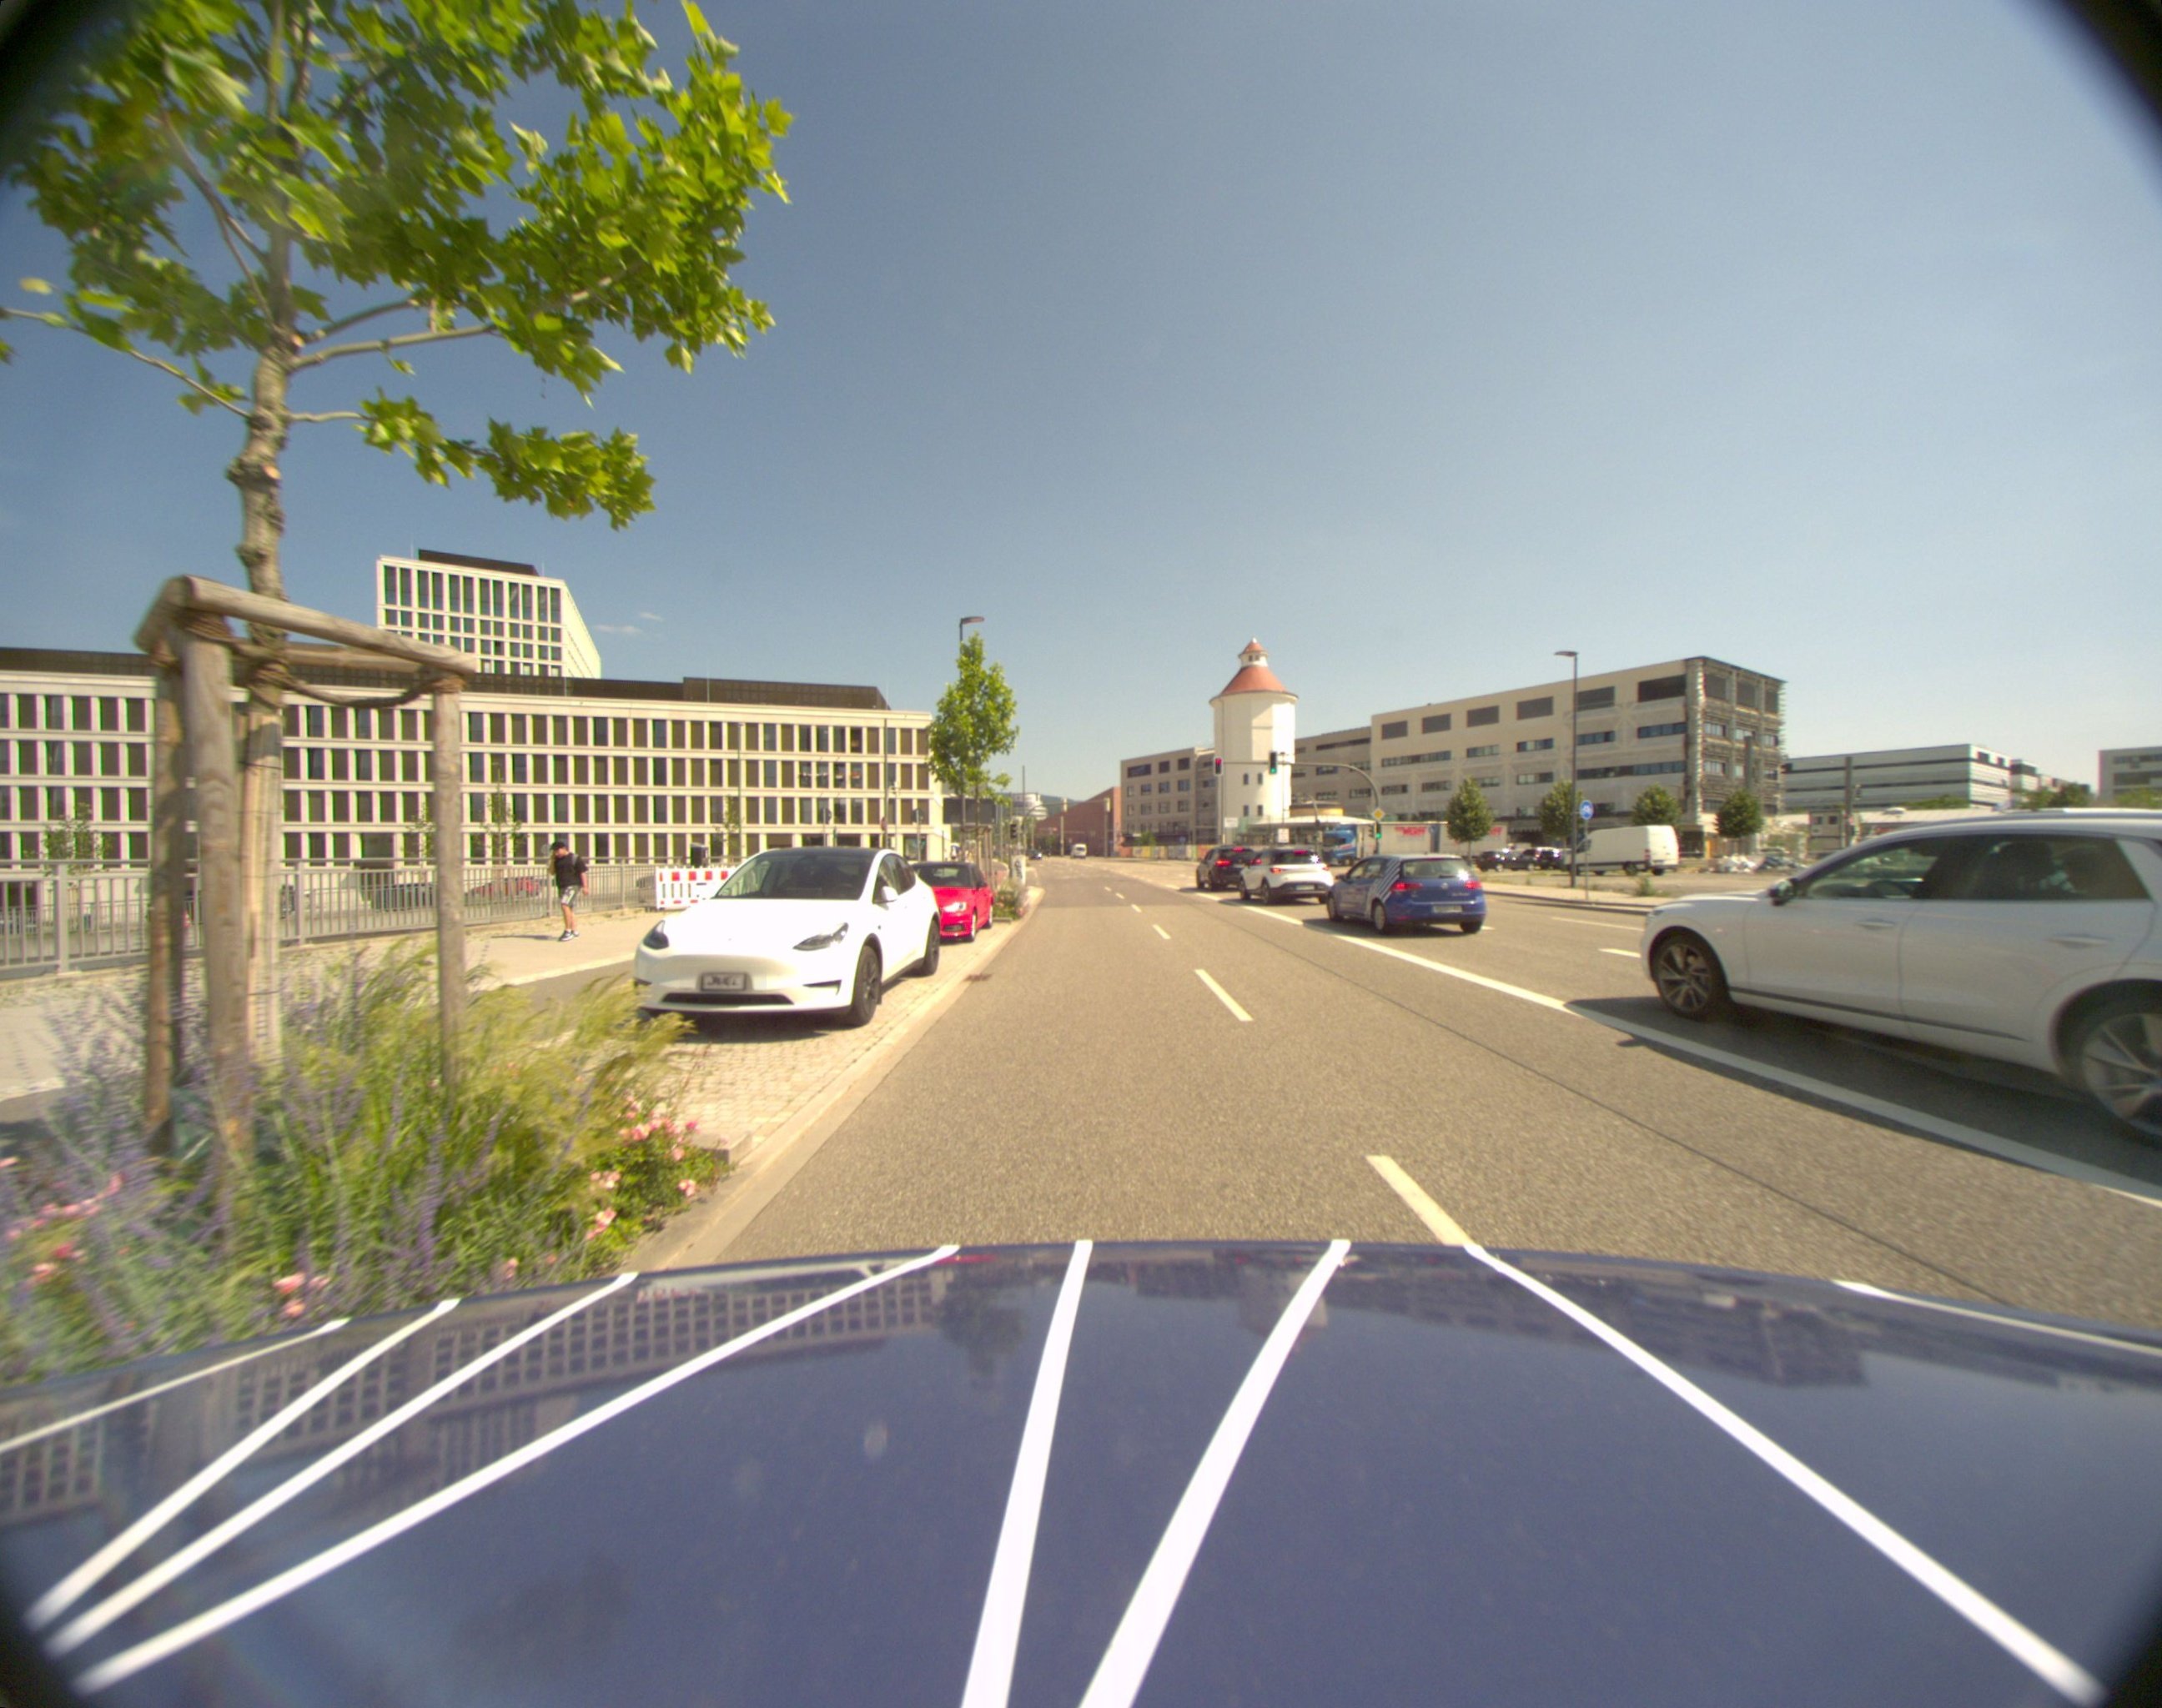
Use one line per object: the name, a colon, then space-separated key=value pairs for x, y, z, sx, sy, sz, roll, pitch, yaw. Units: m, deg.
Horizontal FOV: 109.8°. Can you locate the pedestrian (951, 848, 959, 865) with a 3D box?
pedestrian: x=-12.916 y=0.260 z=77.941 sx=0.579 sy=1.710 sz=0.996 roll=-4 pitch=2 yaw=-8

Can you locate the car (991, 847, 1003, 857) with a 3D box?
car: x=-13.005 y=-0.277 z=117.691 sx=1.811 sy=1.499 sz=3.997 roll=-1 pitch=0 yaw=-8

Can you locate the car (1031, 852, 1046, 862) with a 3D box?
car: x=-6.868 y=0.415 z=121.770 sx=1.785 sy=1.552 sz=3.827 roll=-2 pitch=0 yaw=-12

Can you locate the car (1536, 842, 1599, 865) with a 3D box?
car: x=37.380 y=-0.025 z=58.439 sx=4.002 sy=1.630 sz=1.878 roll=-1 pitch=1 yaw=-14

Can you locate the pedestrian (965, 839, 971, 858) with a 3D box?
pedestrian: x=-11.621 y=-0.541 z=77.990 sx=0.579 sy=1.727 sz=0.998 roll=-1 pitch=-10 yaw=-7

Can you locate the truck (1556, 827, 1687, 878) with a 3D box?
truck: x=29.763 y=-0.129 z=42.159 sx=2.174 sy=2.640 sz=5.937 roll=-1 pitch=1 yaw=-14

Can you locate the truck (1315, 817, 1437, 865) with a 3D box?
truck: x=27.940 y=-1.309 z=72.017 sx=10.987 sy=4.045 sz=3.296 roll=-3 pitch=2 yaw=-16

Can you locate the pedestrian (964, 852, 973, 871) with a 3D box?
pedestrian: x=-10.452 y=0.721 z=70.453 sx=0.702 sy=1.713 sz=0.796 roll=-1 pitch=1 yaw=-5

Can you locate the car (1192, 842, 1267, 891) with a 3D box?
car: x=5.862 y=0.465 z=30.579 sx=1.944 sy=1.778 sz=4.654 roll=-2 pitch=0 yaw=-1

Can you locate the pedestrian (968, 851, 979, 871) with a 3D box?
pedestrian: x=-9.954 y=0.662 z=70.191 sx=0.880 sy=1.816 sz=1.664 roll=-1 pitch=1 yaw=-6

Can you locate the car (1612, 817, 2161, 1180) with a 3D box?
car: x=5.910 y=0.626 z=4.718 sx=1.918 sy=1.640 sz=4.730 roll=-2 pitch=1 yaw=1

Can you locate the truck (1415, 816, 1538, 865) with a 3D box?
truck: x=38.797 y=-1.376 z=74.674 sx=10.950 sy=4.252 sz=3.341 roll=-2 pitch=2 yaw=-10

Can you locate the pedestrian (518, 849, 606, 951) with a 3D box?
pedestrian: x=-8.513 y=0.724 z=12.501 sx=0.752 sy=1.600 sz=0.949 roll=2 pitch=1 yaw=1

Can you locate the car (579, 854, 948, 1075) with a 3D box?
car: x=-2.842 y=0.842 z=8.214 sx=1.877 sy=1.618 sz=4.876 roll=-1 pitch=0 yaw=0

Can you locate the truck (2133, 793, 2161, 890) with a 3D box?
truck: x=35.061 y=-0.465 z=21.744 sx=6.160 sy=2.885 sz=2.570 roll=-2 pitch=2 yaw=2

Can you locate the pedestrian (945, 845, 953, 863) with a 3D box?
pedestrian: x=-13.473 y=-0.008 z=77.481 sx=0.827 sy=1.774 sz=0.926 roll=0 pitch=2 yaw=-8

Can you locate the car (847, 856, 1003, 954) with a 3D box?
car: x=-2.734 y=0.826 z=14.311 sx=1.998 sy=1.510 sz=4.000 roll=-2 pitch=0 yaw=1

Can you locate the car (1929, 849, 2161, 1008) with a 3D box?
car: x=11.303 y=0.731 z=7.486 sx=1.898 sy=1.407 sz=3.597 roll=-2 pitch=2 yaw=1

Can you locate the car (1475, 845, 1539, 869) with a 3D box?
car: x=31.908 y=0.209 z=56.990 sx=4.002 sy=1.630 sz=1.878 roll=-1 pitch=1 yaw=-14

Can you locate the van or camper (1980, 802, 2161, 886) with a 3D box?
van or camper: x=34.608 y=-0.348 z=26.004 sx=4.911 sy=2.646 sz=2.260 roll=-2 pitch=1 yaw=1

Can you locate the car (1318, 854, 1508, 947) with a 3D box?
car: x=6.018 y=0.754 z=14.385 sx=1.790 sy=1.413 sz=4.281 roll=-2 pitch=1 yaw=1

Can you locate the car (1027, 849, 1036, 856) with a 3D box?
car: x=-11.955 y=-0.302 z=184.660 sx=1.803 sy=1.581 sz=3.966 roll=1 pitch=1 yaw=-9

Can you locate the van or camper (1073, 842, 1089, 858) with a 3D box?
van or camper: x=-0.043 y=-0.706 z=125.161 sx=2.159 sy=2.400 sz=5.677 roll=1 pitch=1 yaw=-6

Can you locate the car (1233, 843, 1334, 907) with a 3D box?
car: x=5.880 y=0.567 z=22.577 sx=1.783 sy=1.672 sz=4.098 roll=-1 pitch=0 yaw=-1

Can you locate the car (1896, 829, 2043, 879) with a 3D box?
car: x=34.344 y=-0.008 z=29.424 sx=3.876 sy=1.748 sz=1.657 roll=-2 pitch=1 yaw=-3
